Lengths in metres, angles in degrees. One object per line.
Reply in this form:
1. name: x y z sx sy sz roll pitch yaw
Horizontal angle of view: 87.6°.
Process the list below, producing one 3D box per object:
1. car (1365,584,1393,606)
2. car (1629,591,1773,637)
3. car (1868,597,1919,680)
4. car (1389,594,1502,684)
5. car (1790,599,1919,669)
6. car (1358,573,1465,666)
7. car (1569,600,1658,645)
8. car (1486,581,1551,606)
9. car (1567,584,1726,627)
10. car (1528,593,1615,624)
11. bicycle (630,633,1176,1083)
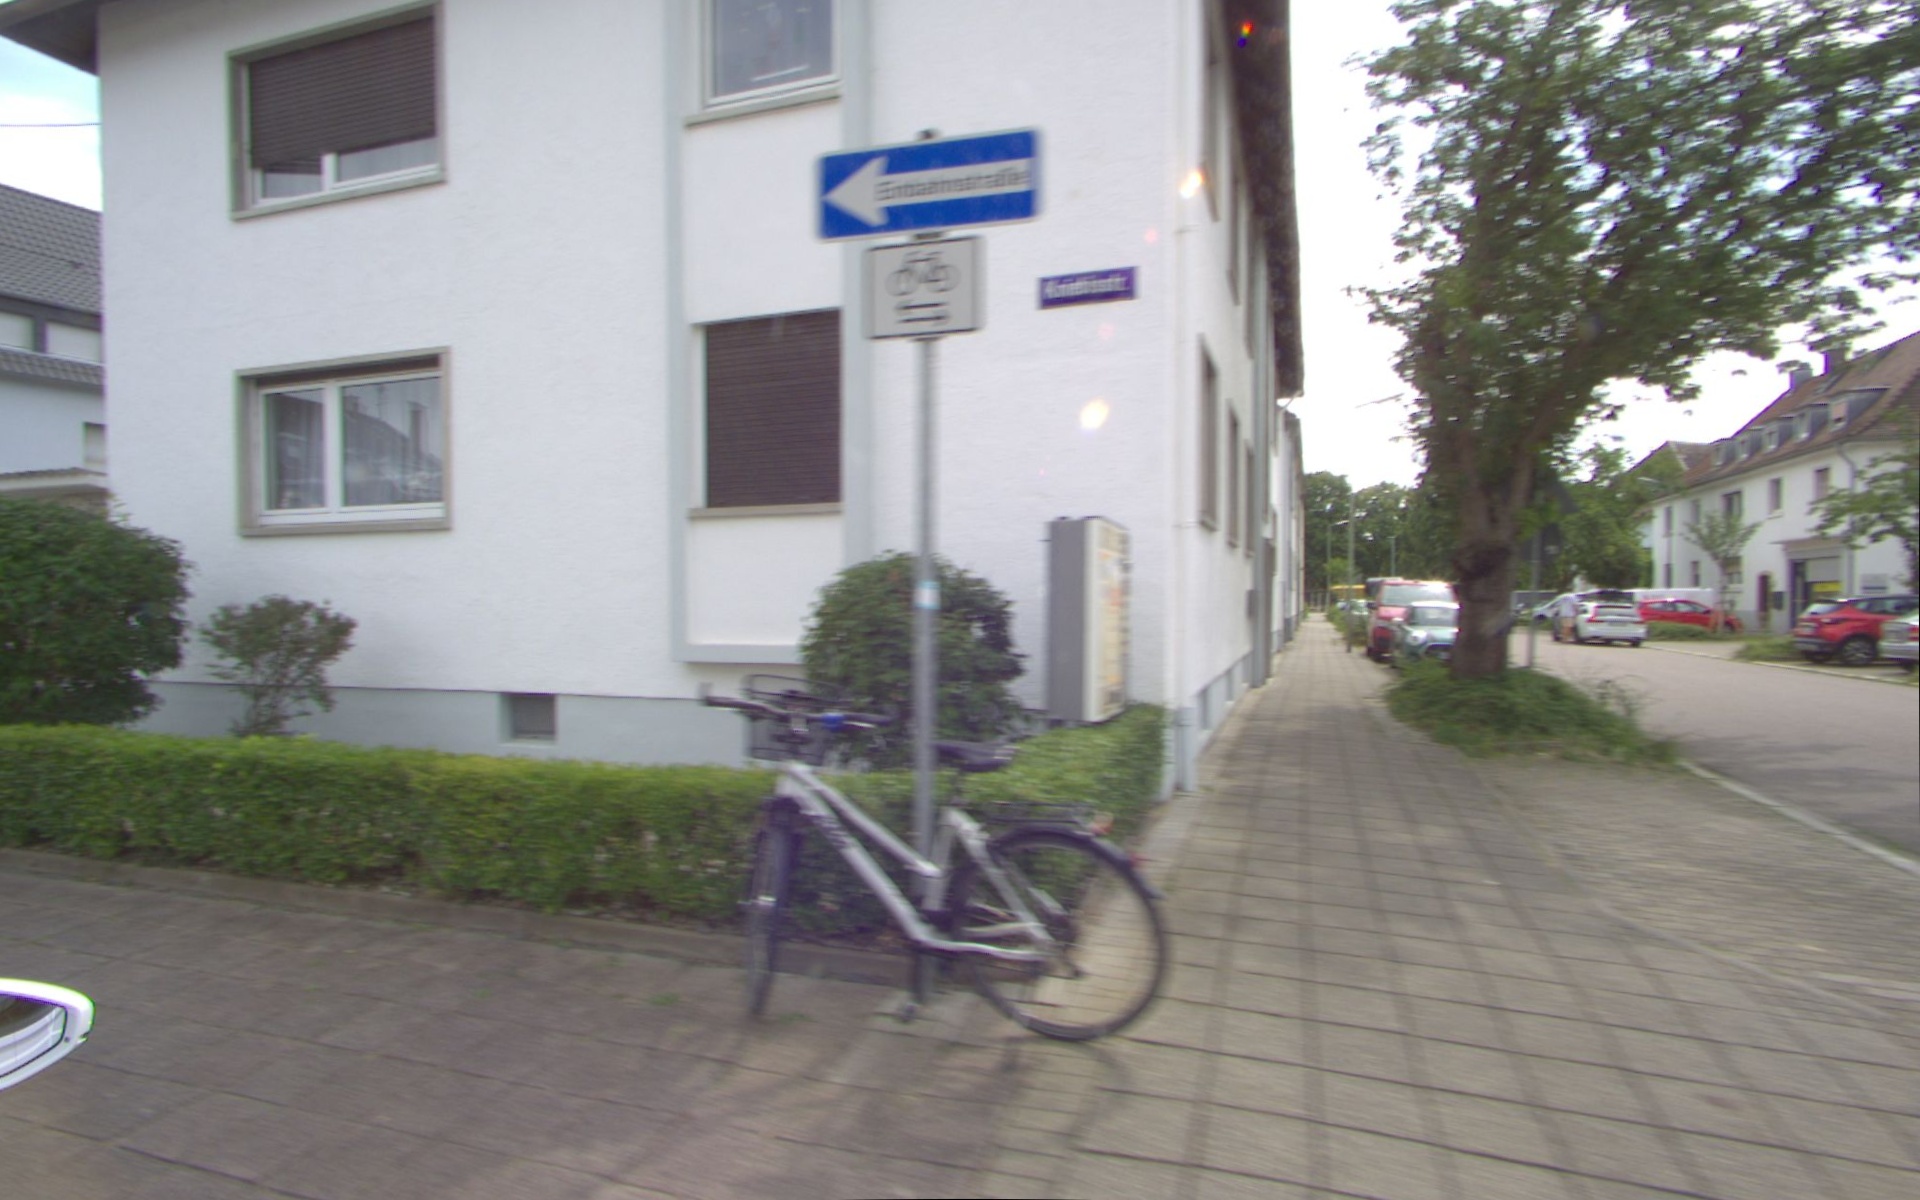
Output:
1. car: 28.983 -0.327 69.290 1.571 1.444 3.533 -2 -1 20
2. car: 27.542 0.531 37.372 3.931 1.538 1.719 -2 0 20
3. car: 20.103 0.661 18.935 3.931 1.538 1.719 -2 0 20
4. car: 9.388 0.717 19.609 1.740 1.574 3.720 -2 -1 23
5. car: 21.047 0.712 21.986 3.931 1.457 1.719 -2 0 20
6. car: 10.893 0.434 24.460 1.965 2.040 4.511 0 0 19
7. car: 21.653 0.730 33.338 1.664 1.372 3.817 -2 -1 21
8. car: 36.382 -0.399 65.297 3.481 1.444 1.594 -2 0 21
9. car: 27.366 0.232 40.125 4.903 1.538 1.765 -2 0 19
10. car: 30.828 0.443 50.610 3.481 1.444 1.594 -2 0 21
11. bicycle: -0.180 0.728 3.114 1.609 1.194 0.434 -2 0 16
